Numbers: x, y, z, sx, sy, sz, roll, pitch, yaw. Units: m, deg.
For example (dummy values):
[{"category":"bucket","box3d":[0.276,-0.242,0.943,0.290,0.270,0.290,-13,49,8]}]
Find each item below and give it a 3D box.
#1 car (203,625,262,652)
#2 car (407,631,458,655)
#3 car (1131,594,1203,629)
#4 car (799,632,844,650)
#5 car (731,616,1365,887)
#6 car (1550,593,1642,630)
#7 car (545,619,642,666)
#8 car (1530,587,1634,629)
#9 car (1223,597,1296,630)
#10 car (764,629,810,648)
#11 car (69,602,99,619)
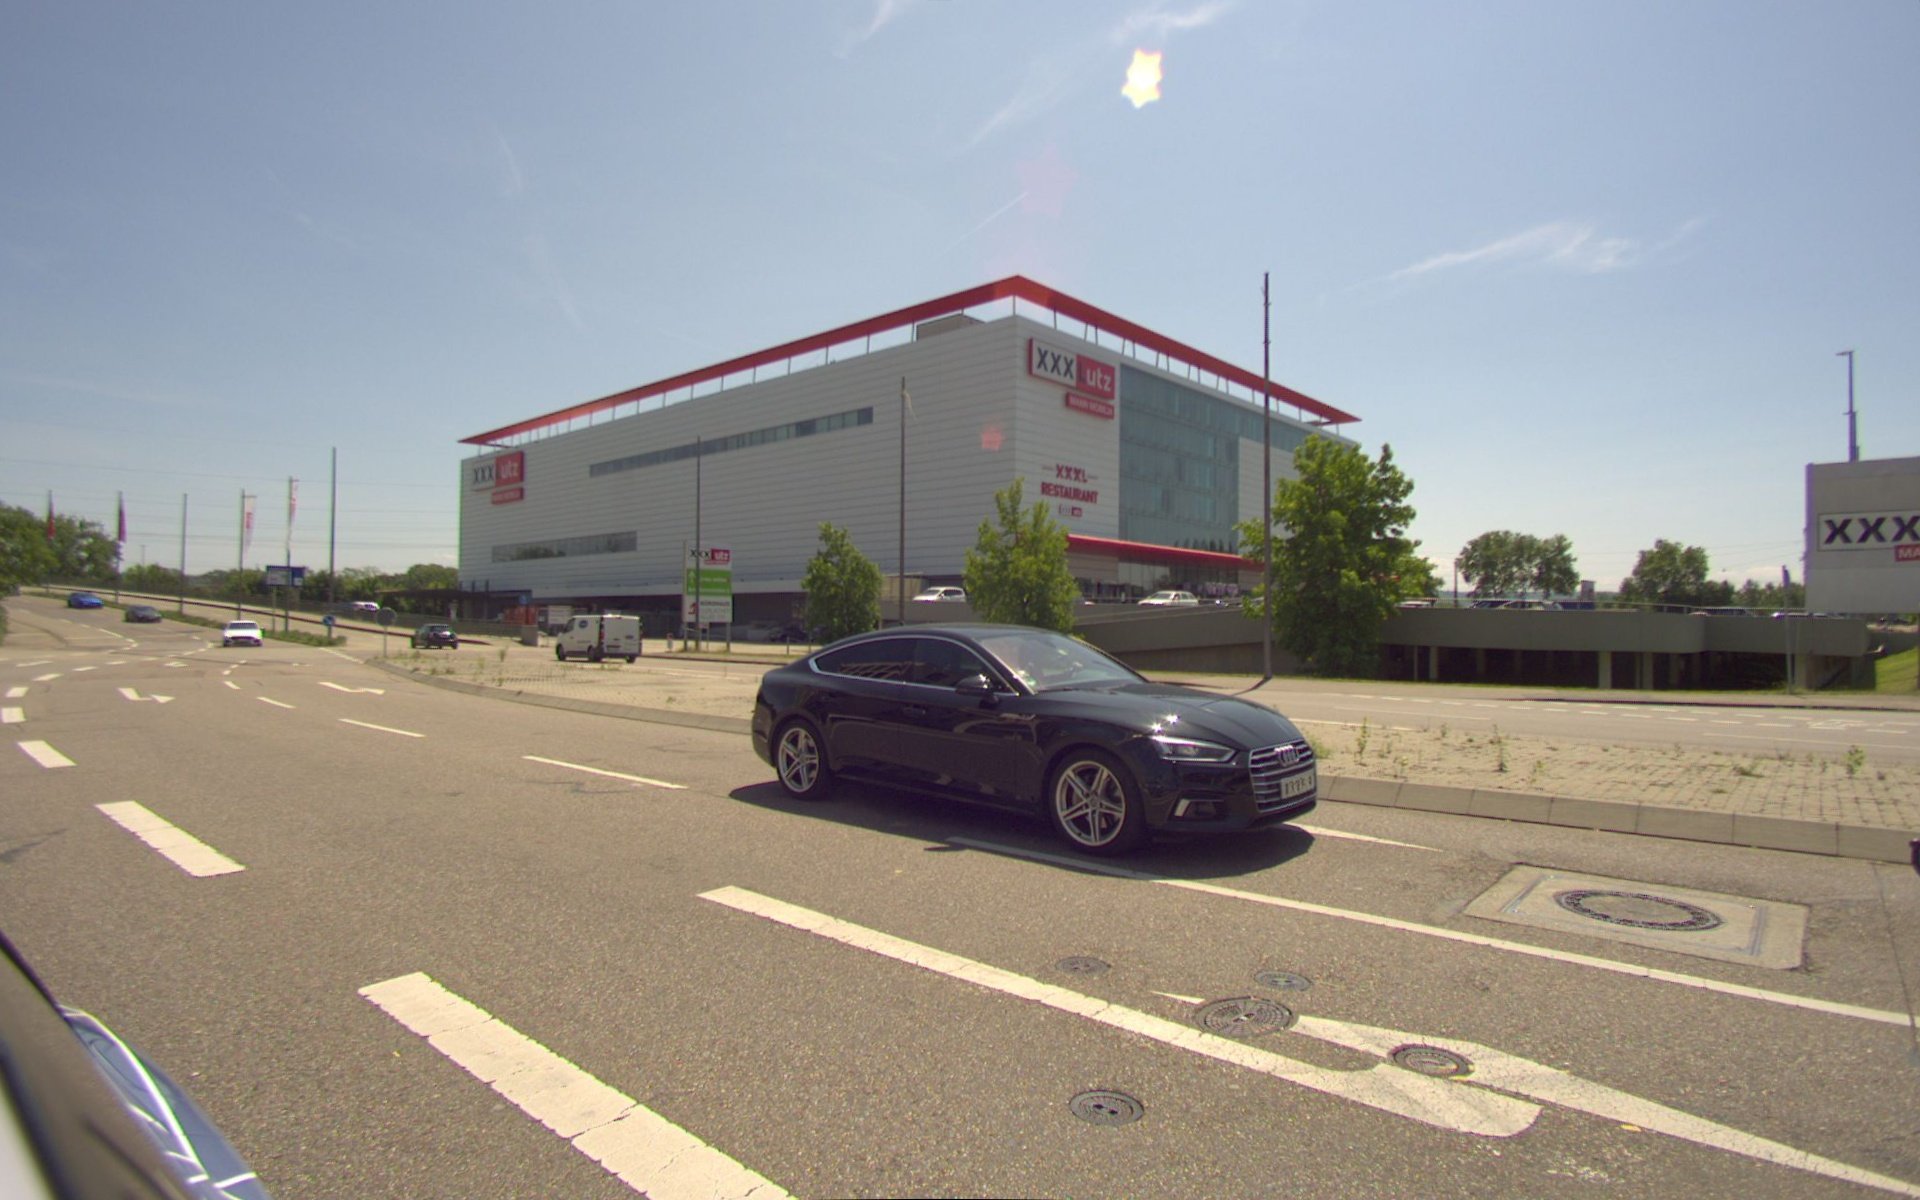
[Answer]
[{"category":"car","box3d":[-41.326,2.173,57.441,4.227,1.461,1.713,-1,-2,40]},{"category":"car","box3d":[-30.177,2.421,57.866,1.832,1.312,3.901,3,-3,-38]},{"category":"car","box3d":[11.470,0.656,55.902,2.000,1.781,4.141,-1,-2,43]},{"category":"car","box3d":[-12.124,3.544,88.467,1.959,1.507,3.437,-1,-2,42]},{"category":"car","box3d":[0.359,0.854,7.434,4.532,1.401,1.729,-2,-2,43]},{"category":"car","box3d":[34.207,0.641,54.492,3.995,1.923,1.974,-1,-2,39]},{"category":"car","box3d":[-15.281,1.734,42.063,4.842,1.864,1.810,-1,-2,44]},{"category":"car","box3d":[29.863,0.430,48.601,3.997,1.946,1.973,-1,-2,41]},{"category":"car","box3d":[19.053,0.848,64.371,3.999,2.029,1.972,-1,-2,42]},{"category":"car","box3d":[-15.530,3.483,91.110,1.911,1.632,3.699,-1,-2,40]},{"category":"car","box3d":[-84.637,1.009,97.763,4.408,1.424,1.777,3,1,44]}]
